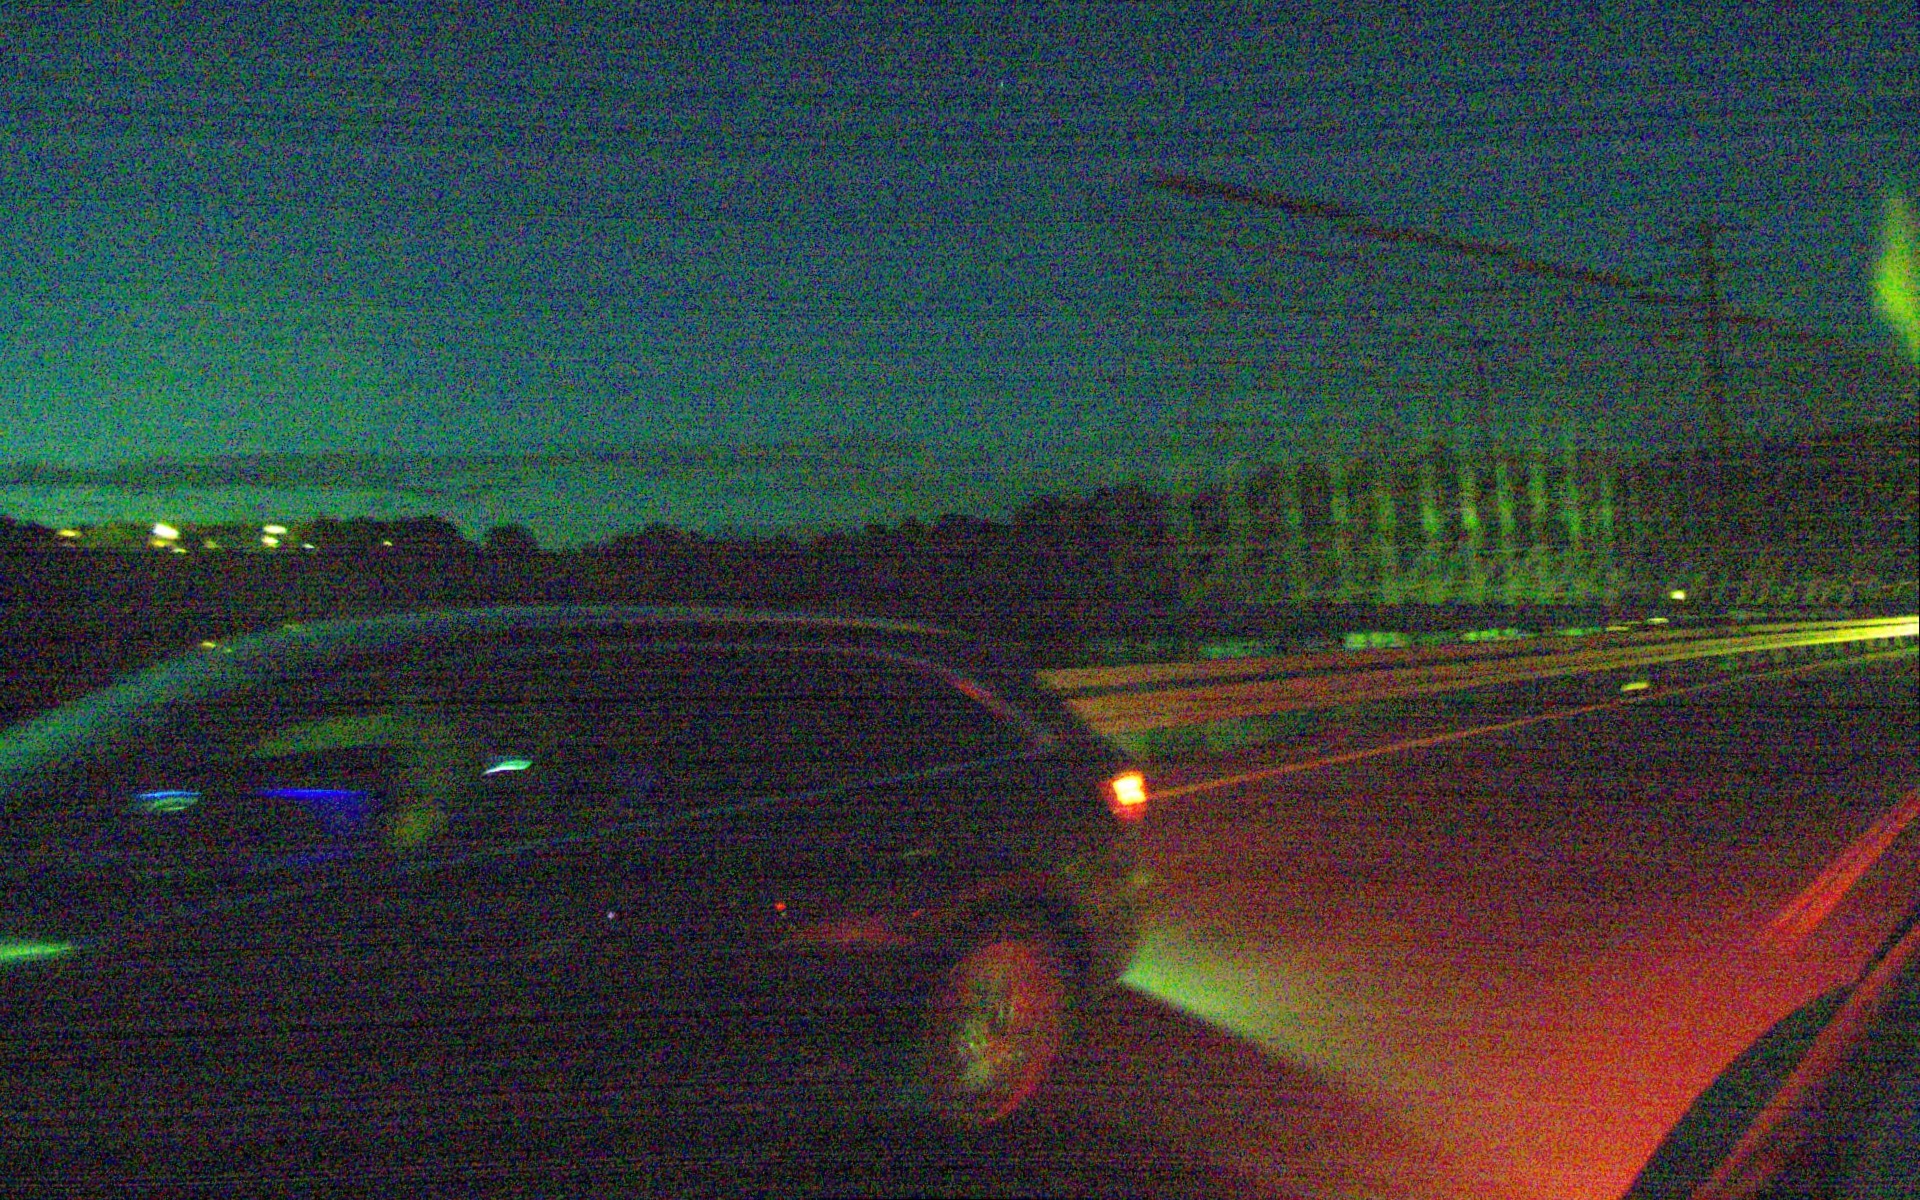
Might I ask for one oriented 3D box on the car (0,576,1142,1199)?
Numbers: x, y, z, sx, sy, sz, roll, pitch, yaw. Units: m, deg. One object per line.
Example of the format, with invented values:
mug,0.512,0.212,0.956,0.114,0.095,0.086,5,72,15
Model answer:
car,-1.874,0.685,2.201,4.788,1.444,1.812,0,1,-40
